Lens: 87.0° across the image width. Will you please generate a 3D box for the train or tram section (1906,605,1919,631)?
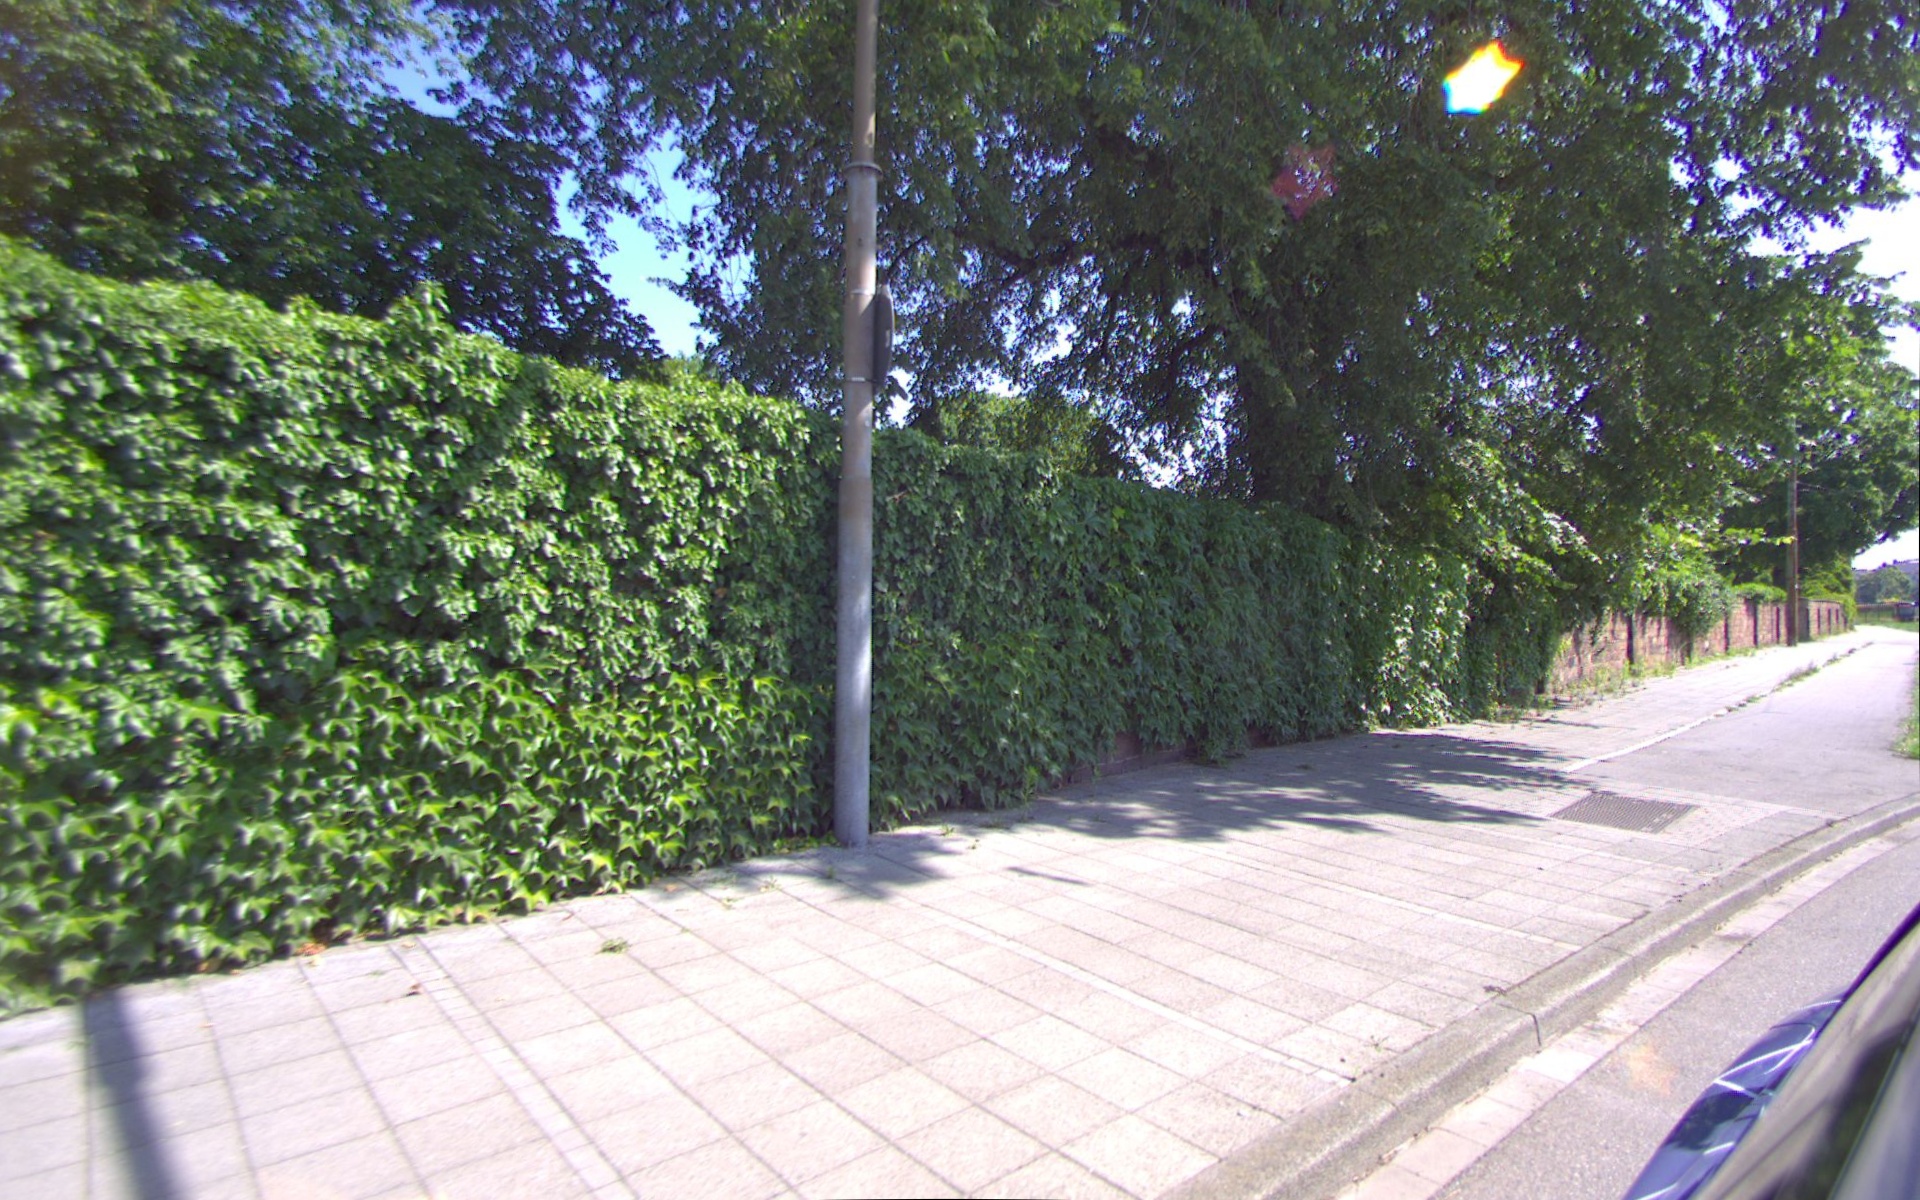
[{"bbox_3d":[144.887,2.662,152.657,2.670,3.699,15.059,-4,-3,44],"label":"train or tram section"}]
